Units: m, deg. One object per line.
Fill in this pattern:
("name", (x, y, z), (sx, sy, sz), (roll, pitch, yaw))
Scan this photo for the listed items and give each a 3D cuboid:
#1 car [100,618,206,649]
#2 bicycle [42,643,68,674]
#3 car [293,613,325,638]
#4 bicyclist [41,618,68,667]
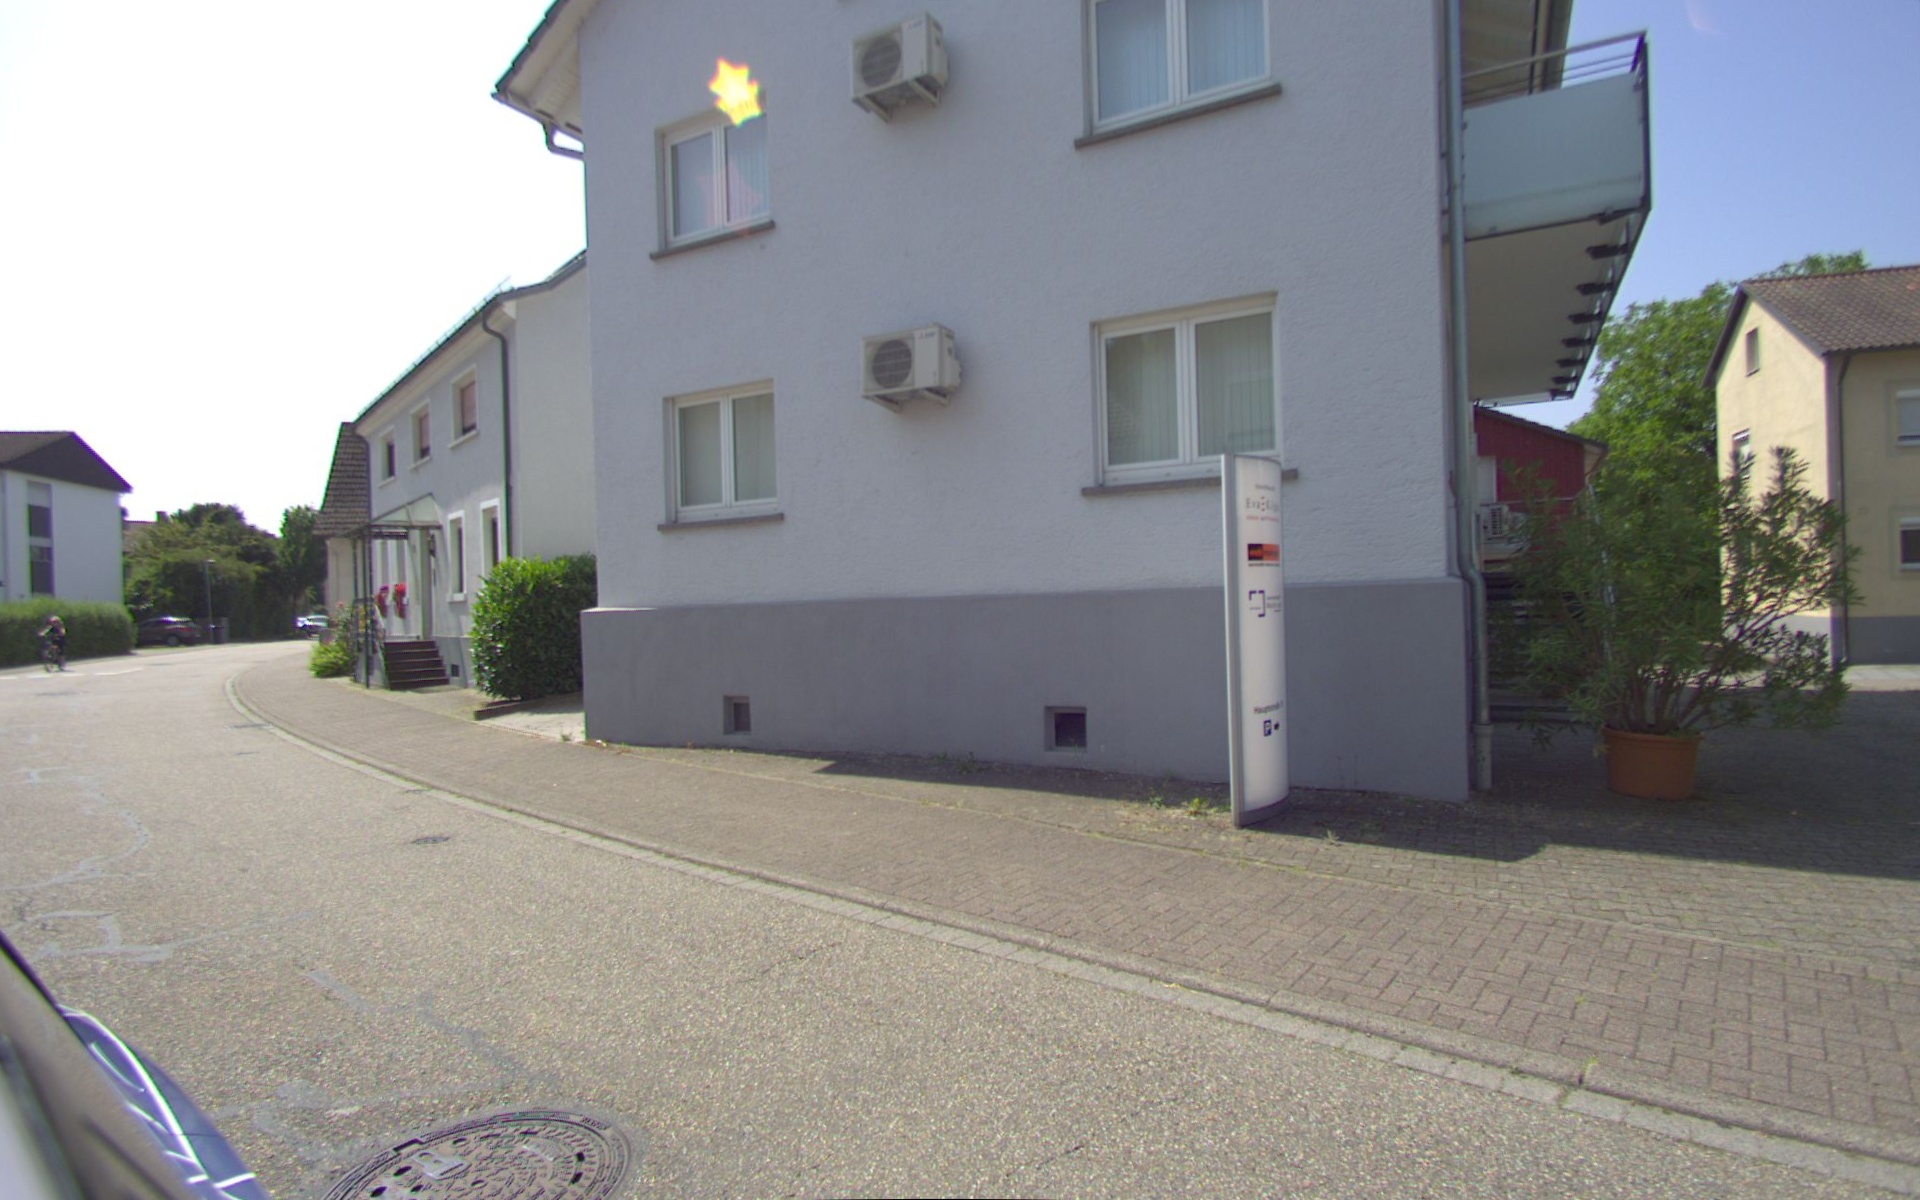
("car", (-45.369, 1.861, 57.022), (4.218, 1.684, 2.072), (0, -1, -20))
("bicycle", (-28.410, 1.813, 31.772), (0.513, 0.911, 1.316), (-1, 0, -38))
("car", (-50.627, 1.984, 78.752), (1.752, 1.855, 3.913), (0, -1, -29))
("bicyclist", (-28.378, 1.317, 31.720), (0.539, 1.501, 0.798), (-1, 0, -38))
